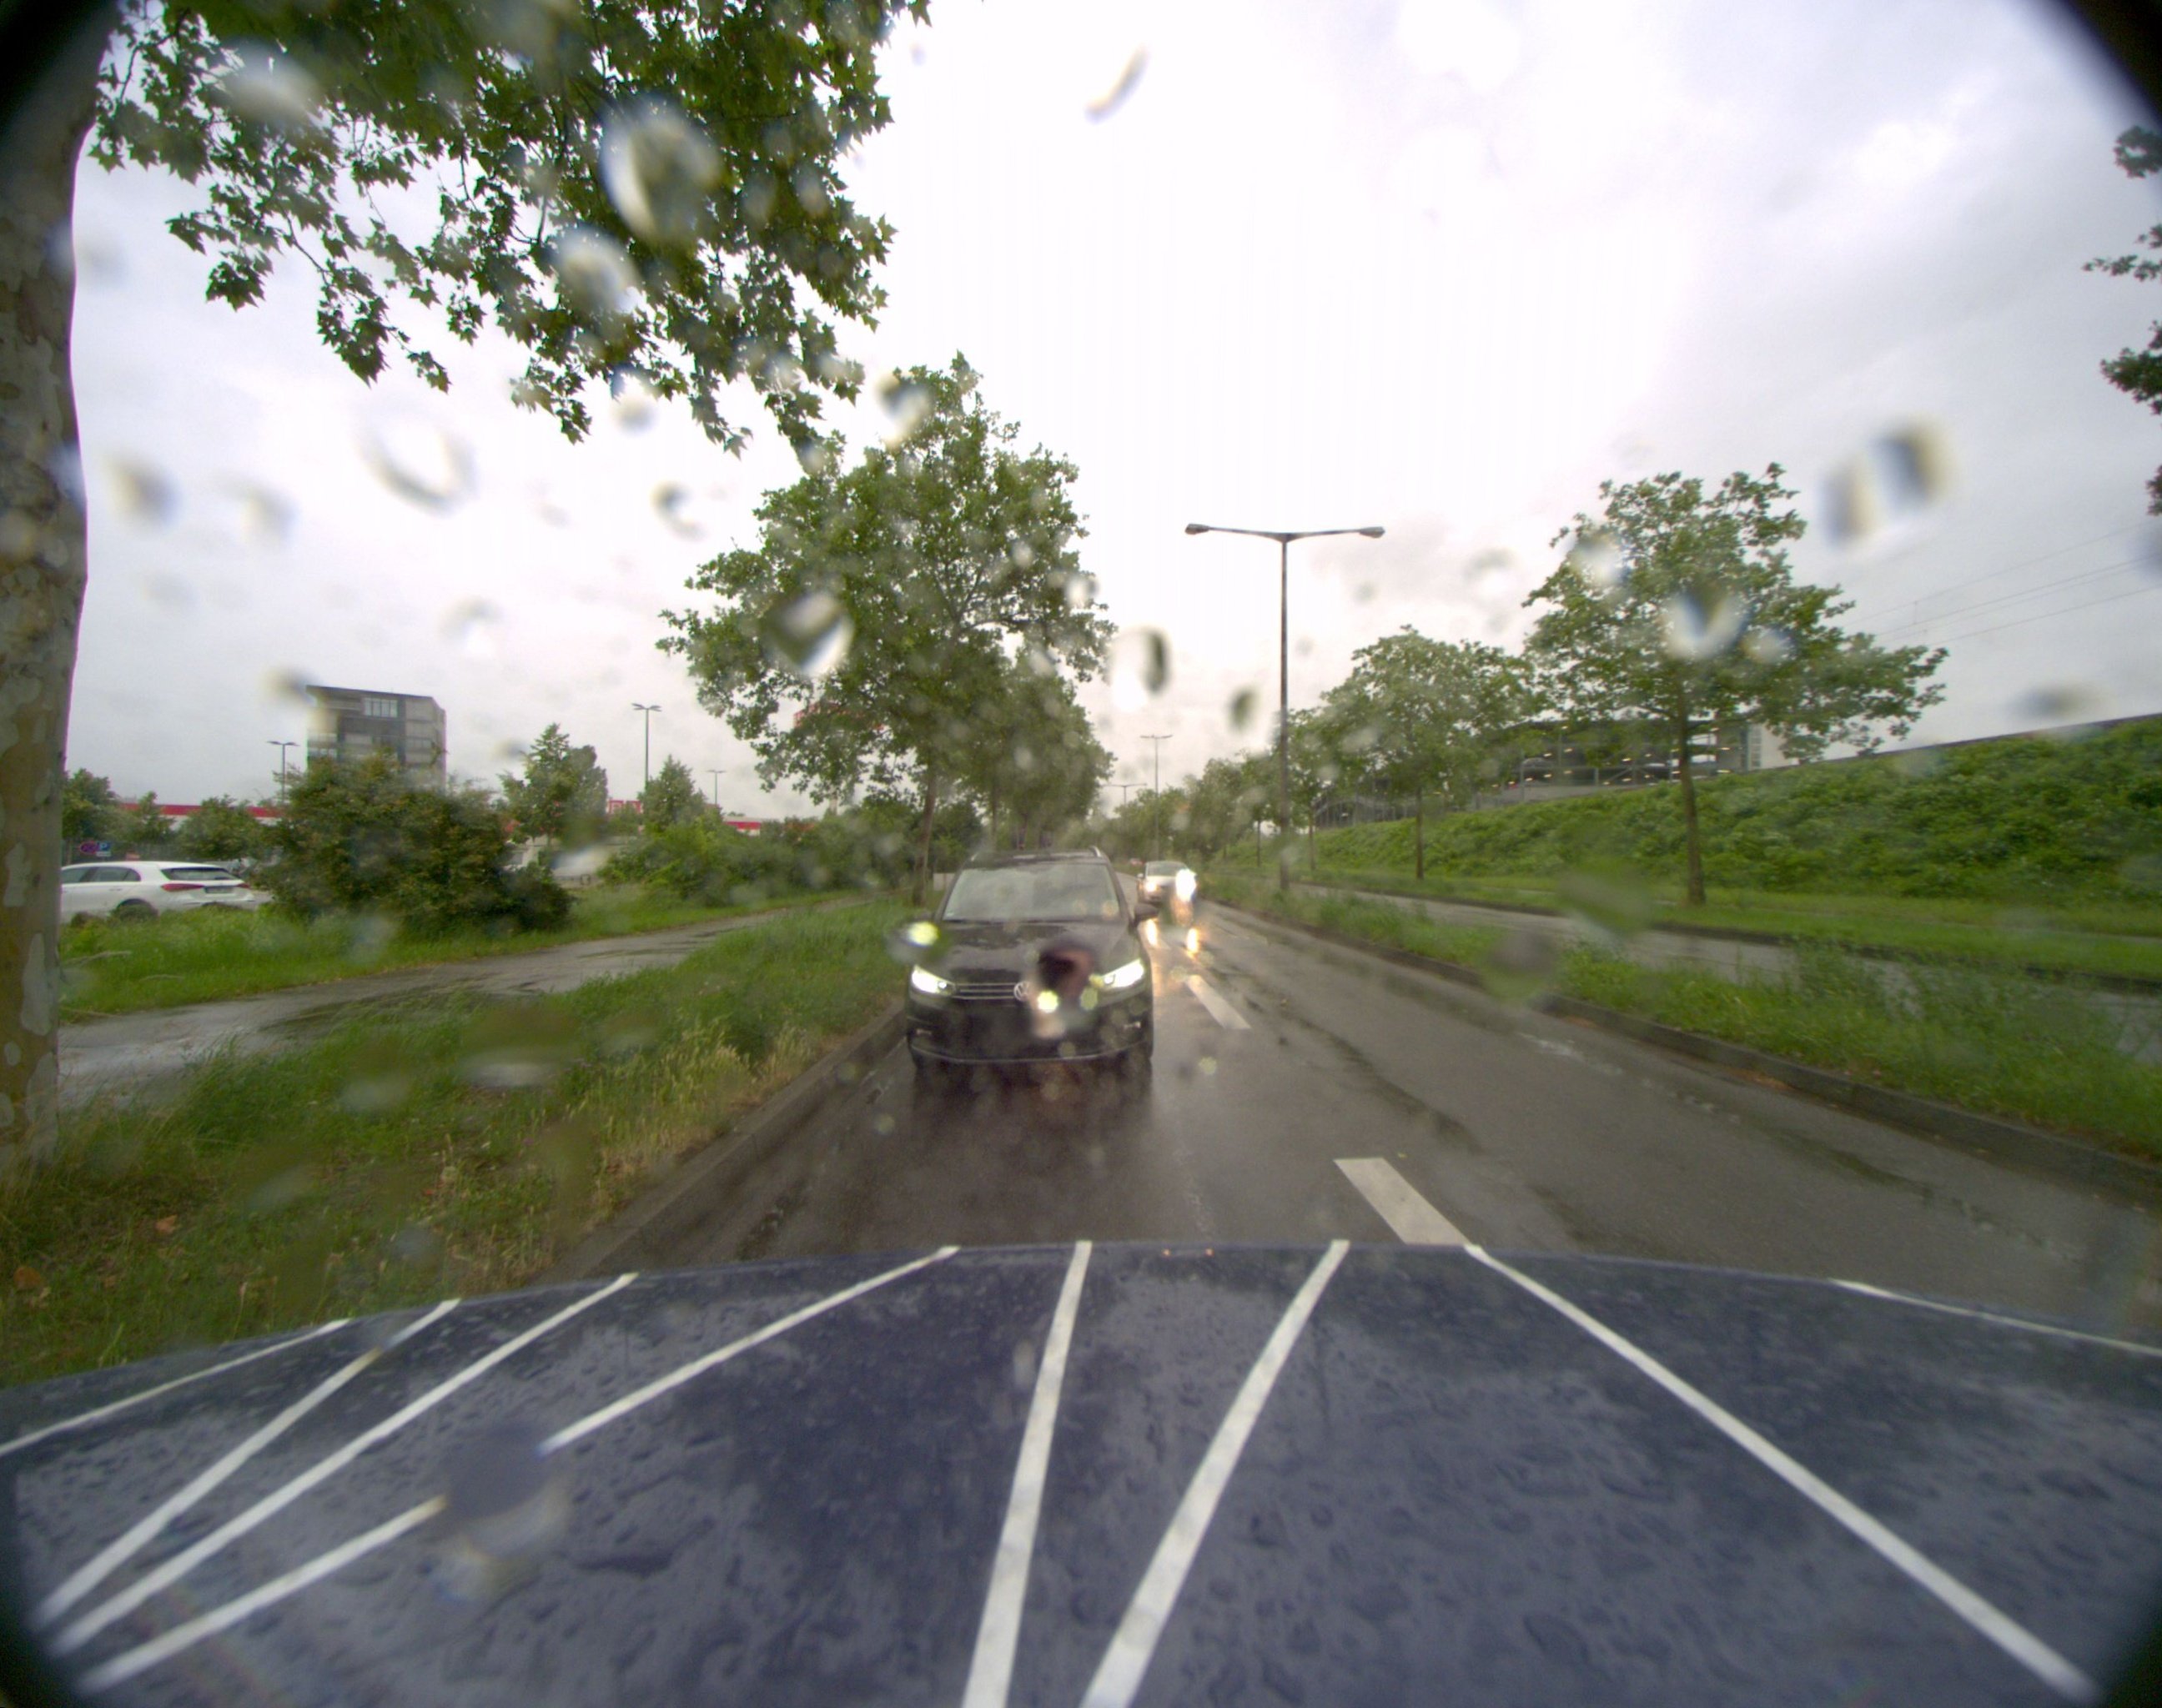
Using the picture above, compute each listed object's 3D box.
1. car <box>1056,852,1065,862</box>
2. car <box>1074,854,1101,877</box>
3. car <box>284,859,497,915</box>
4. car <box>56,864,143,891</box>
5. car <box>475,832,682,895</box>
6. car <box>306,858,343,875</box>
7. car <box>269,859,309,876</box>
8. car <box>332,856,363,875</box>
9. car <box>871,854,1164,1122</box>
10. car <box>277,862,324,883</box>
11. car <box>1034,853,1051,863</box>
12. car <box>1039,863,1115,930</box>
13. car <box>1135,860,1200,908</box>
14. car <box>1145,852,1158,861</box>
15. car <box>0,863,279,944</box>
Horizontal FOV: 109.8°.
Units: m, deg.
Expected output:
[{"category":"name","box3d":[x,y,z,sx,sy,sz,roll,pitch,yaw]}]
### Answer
[{"category":"car","box3d":[-4.690,0.654,171.897,1.999,2.002,5.130,-2,1,-3]},{"category":"car","box3d":[0.479,0.777,52.860,1.724,1.456,4.092,-2,0,1]},{"category":"car","box3d":[-19.946,0.922,22.127,4.272,1.543,1.929,0,0,-4]},{"category":"car","box3d":[-62.045,1.433,48.141,1.933,1.543,4.263,0,0,-30]},{"category":"car","box3d":[-19.665,0.359,30.076,6.425,2.349,2.390,0,0,-8]},{"category":"car","box3d":[-78.469,1.229,78.860,2.006,1.667,4.262,0,0,-35]},{"category":"car","box3d":[-80.580,1.328,77.329,2.006,1.667,4.262,0,0,-35]},{"category":"car","box3d":[-69.176,1.036,71.706,2.007,1.667,4.261,0,0,-42]},{"category":"car","box3d":[-0.437,0.834,7.065,1.771,1.596,4.626,-2,0,-1]},{"category":"car","box3d":[-67.284,1.595,65.599,2.006,1.667,4.262,0,0,-34]},{"category":"car","box3d":[-7.451,0.758,147.432,2.001,2.002,5.124,-2,1,-16]},{"category":"car","box3d":[-0.092,1.000,19.635,1.724,1.456,4.092,-2,0,0]},{"category":"car","box3d":[2.768,0.928,25.162,1.683,1.368,4.011,-2,0,1]},{"category":"car","box3d":[11.217,0.334,121.326,1.724,1.456,4.092,0,0,0]},{"category":"car","box3d":[-19.793,0.964,15.656,4.272,1.543,1.929,0,0,-4]}]
